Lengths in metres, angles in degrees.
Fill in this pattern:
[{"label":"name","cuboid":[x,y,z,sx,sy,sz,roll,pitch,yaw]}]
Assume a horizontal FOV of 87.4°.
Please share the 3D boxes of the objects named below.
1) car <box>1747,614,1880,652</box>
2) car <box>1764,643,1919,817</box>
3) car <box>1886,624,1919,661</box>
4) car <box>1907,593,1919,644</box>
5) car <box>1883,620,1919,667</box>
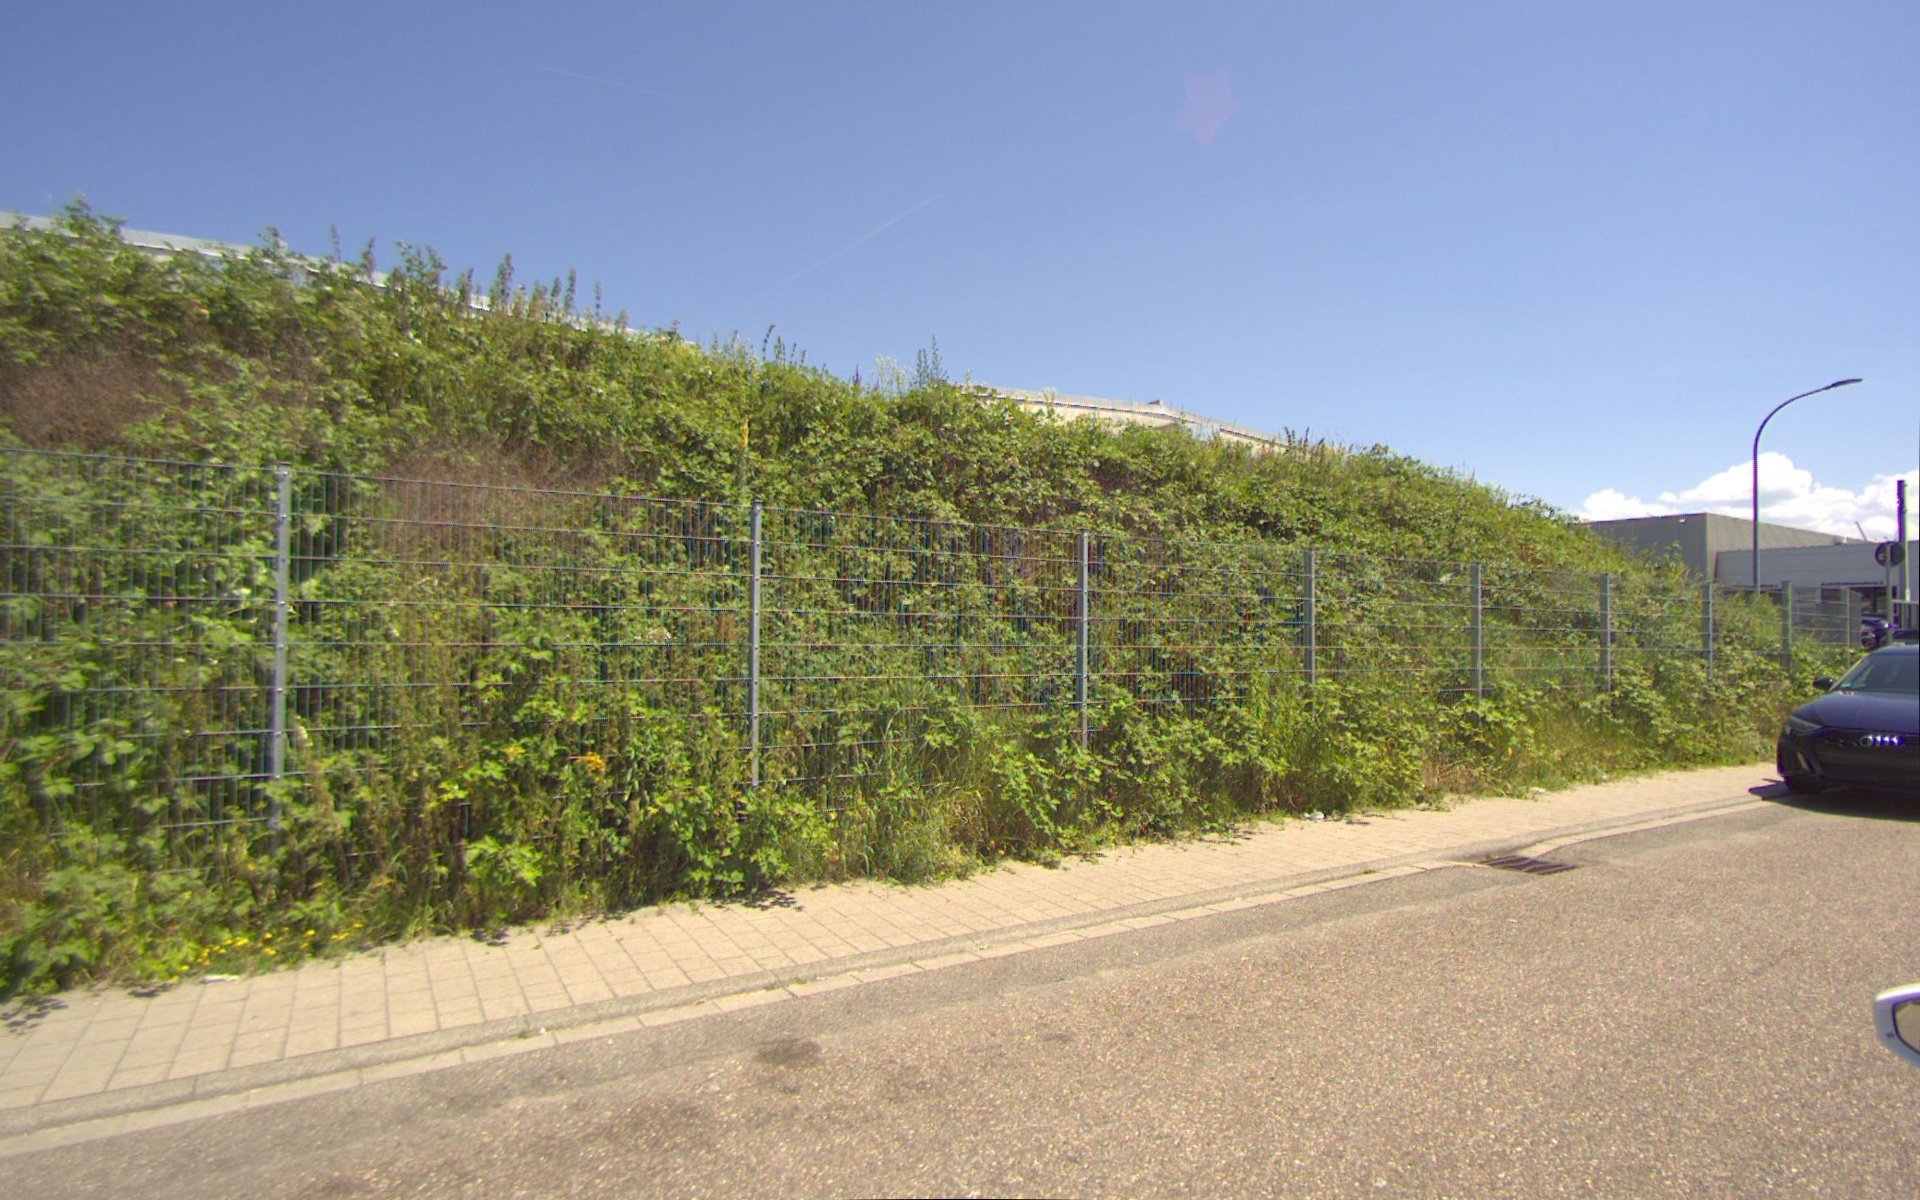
[{"label":"car","cuboid":[40.010,1.580,47.207,1.979,1.647,4.414,4,-4,-32]},{"label":"car","cuboid":[9.545,1.142,9.647,4.101,1.436,1.647,2,-3,-33]},{"label":"car","cuboid":[39.462,1.669,39.289,1.979,1.416,4.414,4,-4,-32]},{"label":"car","cuboid":[41.931,0.702,40.377,1.977,2.125,5.291,1,-2,-31]},{"label":"car","cuboid":[36.009,1.574,35.652,1.979,1.647,4.414,4,-4,-32]}]
